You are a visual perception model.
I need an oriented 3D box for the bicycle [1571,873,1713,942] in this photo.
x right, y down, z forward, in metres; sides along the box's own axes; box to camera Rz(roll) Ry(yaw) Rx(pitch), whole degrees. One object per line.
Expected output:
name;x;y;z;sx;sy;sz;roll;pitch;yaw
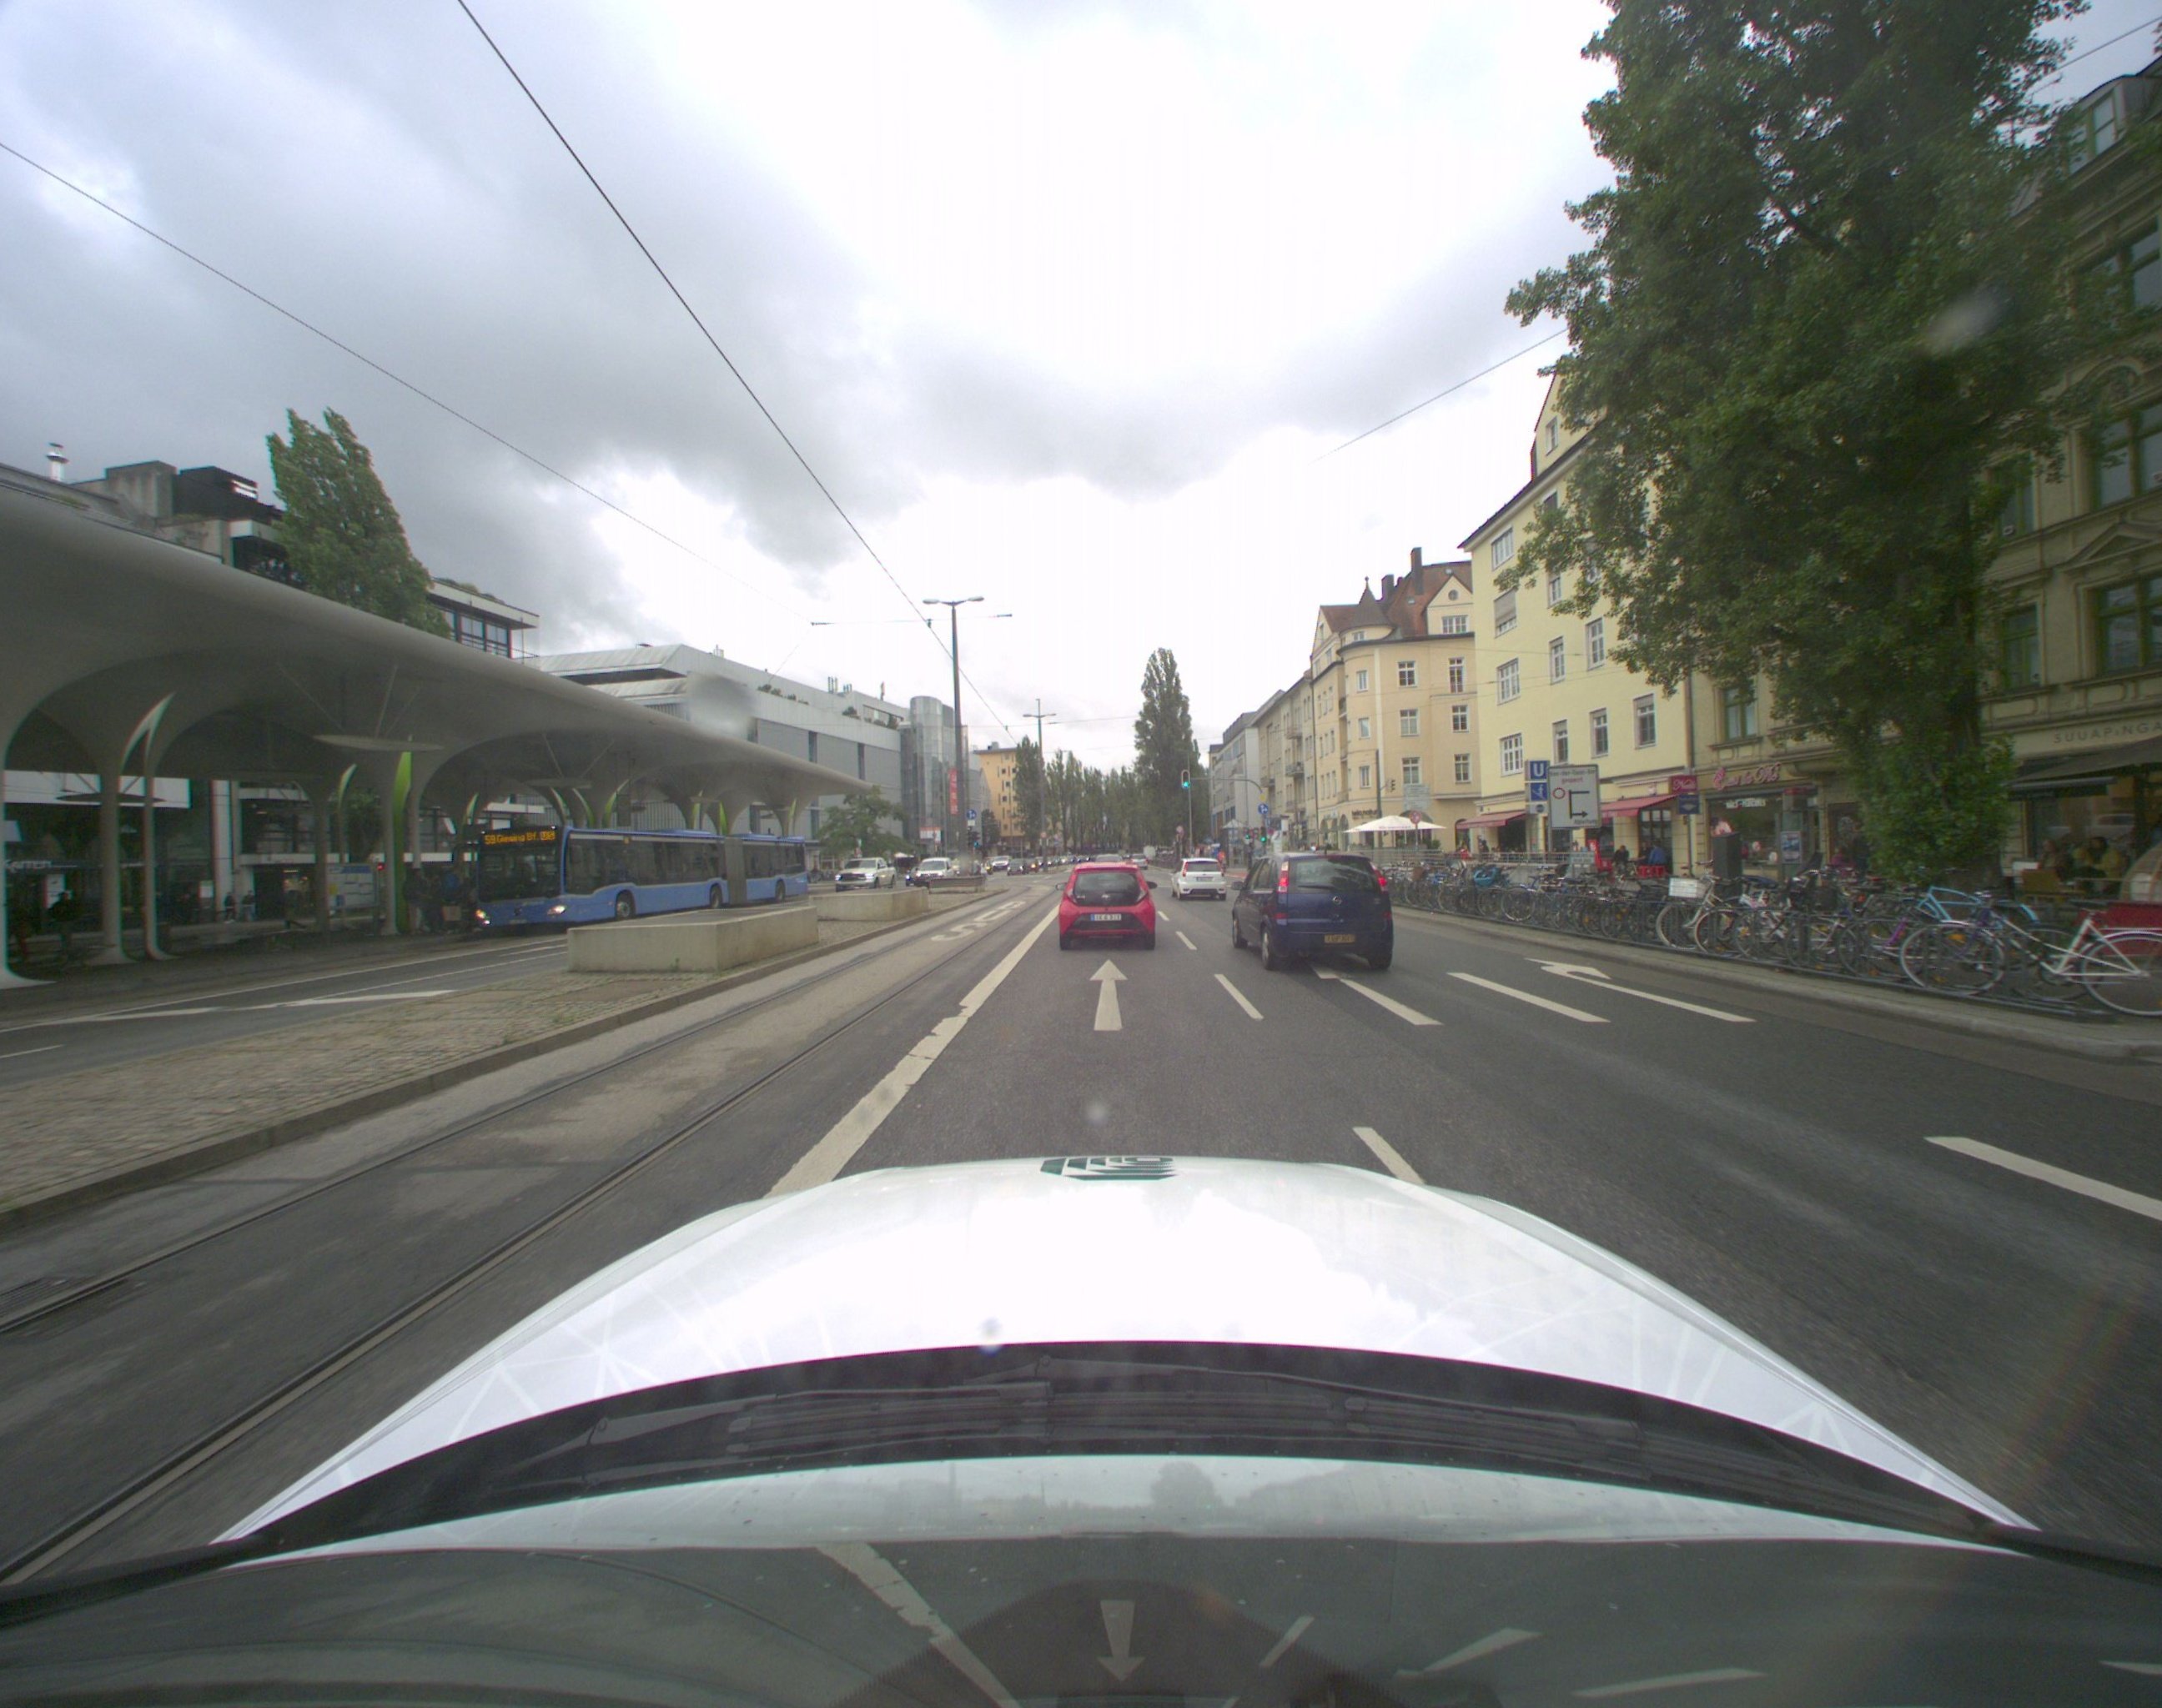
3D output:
bicycle;8.839;0.823;12.885;1.818;0.995;0.378;0;1;39

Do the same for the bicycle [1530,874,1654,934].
bicycle;8.987;0.858;14.382;1.819;0.995;0.377;-1;1;26

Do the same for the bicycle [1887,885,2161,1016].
bicycle;8.593;0.822;7.359;0.377;0.995;1.821;-2;1;-37

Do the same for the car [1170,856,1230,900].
car;4.209;0.811;29.168;1.693;1.426;3.498;-2;0;2

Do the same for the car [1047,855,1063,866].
car;-4.027;0.999;128.024;1.733;1.670;4.742;-3;0;8

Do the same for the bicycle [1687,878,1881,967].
bicycle;8.794;0.820;10.254;1.819;0.995;0.377;0;1;44

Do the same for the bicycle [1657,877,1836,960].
bicycle;8.834;0.823;10.887;1.818;0.995;0.378;0;1;40

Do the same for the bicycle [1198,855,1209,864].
bicycle;14.022;0.636;93.222;1.229;0.963;0.367;-2;0;-20

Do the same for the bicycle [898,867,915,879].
bicycle;-17.416;1.876;81.416;1.566;1.112;0.374;-2;0;5

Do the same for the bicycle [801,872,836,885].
bicycle;-28.068;2.614;87.044;3.468;1.156;1.064;-2;0;14

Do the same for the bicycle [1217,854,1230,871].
bicycle;11.090;0.656;63.303;0.611;1.265;2.521;-2;0;3

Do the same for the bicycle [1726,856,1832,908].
bicycle;14.680;0.590;17.163;1.711;1.045;0.389;-1;1;12

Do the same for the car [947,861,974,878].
car;-10.355;1.327;70.323;1.672;1.395;4.232;-2;0;0

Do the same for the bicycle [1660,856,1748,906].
bicycle;13.796;0.590;18.041;1.719;1.045;0.387;-1;1;-5

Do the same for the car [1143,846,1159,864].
car;10.643;0.140;124.154;2.098;2.718;4.807;-2;0;3

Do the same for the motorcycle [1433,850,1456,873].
motorcycle;18.460;0.378;41.337;0.484;1.156;1.572;-2;0;2

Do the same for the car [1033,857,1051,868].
car;-5.626;1.203;118.272;1.984;1.412;4.174;-2;0;5

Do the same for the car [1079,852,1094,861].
car;1.141;0.503;159.591;1.980;1.534;4.603;-2;0;12

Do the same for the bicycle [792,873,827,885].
bicycle;-28.482;2.614;85.419;3.468;1.156;1.064;-2;0;14

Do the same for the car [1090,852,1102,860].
car;3.135;0.419;168.895;1.982;1.691;4.931;-3;0;8

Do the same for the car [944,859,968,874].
car;-14.444;1.446;94.243;1.893;1.543;4.396;-2;0;3

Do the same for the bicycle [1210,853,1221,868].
bicycle;11.407;0.536;69.161;0.611;1.265;2.521;-2;0;3

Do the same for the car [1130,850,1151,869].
car;6.008;0.583;82.473;1.986;1.838;4.002;-2;0;2

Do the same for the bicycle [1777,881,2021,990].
bicycle;8.712;0.822;8.762;0.377;0.995;1.821;-2;1;-37

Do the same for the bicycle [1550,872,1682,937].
bicycle;8.922;0.824;13.631;1.818;0.995;0.378;0;1;39

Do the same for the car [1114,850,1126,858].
car;9.130;0.006;191.488;1.978;1.728;3.933;-2;0;16

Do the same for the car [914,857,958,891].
car;-8.638;1.126;48.799;1.780;1.855;4.217;-3;0;-1

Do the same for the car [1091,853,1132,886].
car;1.587;0.783;42.659;1.986;1.618;4.001;-2;0;2

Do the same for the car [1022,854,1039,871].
car;-4.938;0.851;79.121;1.501;1.534;2.831;-2;0;-6

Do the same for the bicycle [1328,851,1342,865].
bicycle;21.611;0.341;69.390;0.493;1.089;1.864;-2;0;-4

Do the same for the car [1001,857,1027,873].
car;-6.137;0.998;74.338;1.549;1.445;3.518;-2;0;-17

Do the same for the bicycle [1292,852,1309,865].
bicycle;18.536;0.365;68.729;0.495;1.059;1.858;-2;0;-13

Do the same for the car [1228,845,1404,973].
car;3.302;0.698;12.105;1.696;1.589;3.558;-1;0;2

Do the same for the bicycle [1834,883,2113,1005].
bicycle;8.663;0.822;7.999;0.377;0.995;1.821;-2;1;-37

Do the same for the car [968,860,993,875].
car;-10.270;1.367;83.516;1.836;1.416;4.037;-2;0;2

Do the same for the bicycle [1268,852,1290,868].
bicycle;15.481;0.479;63.782;1.561;1.160;0.525;-3;1;4

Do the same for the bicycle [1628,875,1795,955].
bicycle;8.860;0.823;11.509;0.377;0.995;1.819;-2;1;-44

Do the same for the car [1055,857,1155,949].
car;0.477;0.803;14.728;1.598;1.461;3.132;-1;0;3

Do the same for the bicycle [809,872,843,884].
bicycle;-27.708;2.614;88.469;3.468;1.156;1.064;-2;0;14

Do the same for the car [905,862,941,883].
car;-11.398;1.290;59.005;1.667;1.378;4.613;-2;0;1

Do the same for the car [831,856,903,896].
car;-11.309;1.107;43.528;2.168;1.887;6.155;-2;0;0

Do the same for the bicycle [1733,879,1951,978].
bicycle;8.761;0.822;9.456;0.377;0.995;1.820;-2;1;-43

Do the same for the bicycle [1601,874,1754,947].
bicycle;8.926;0.823;12.246;1.818;0.995;0.378;0;1;39
